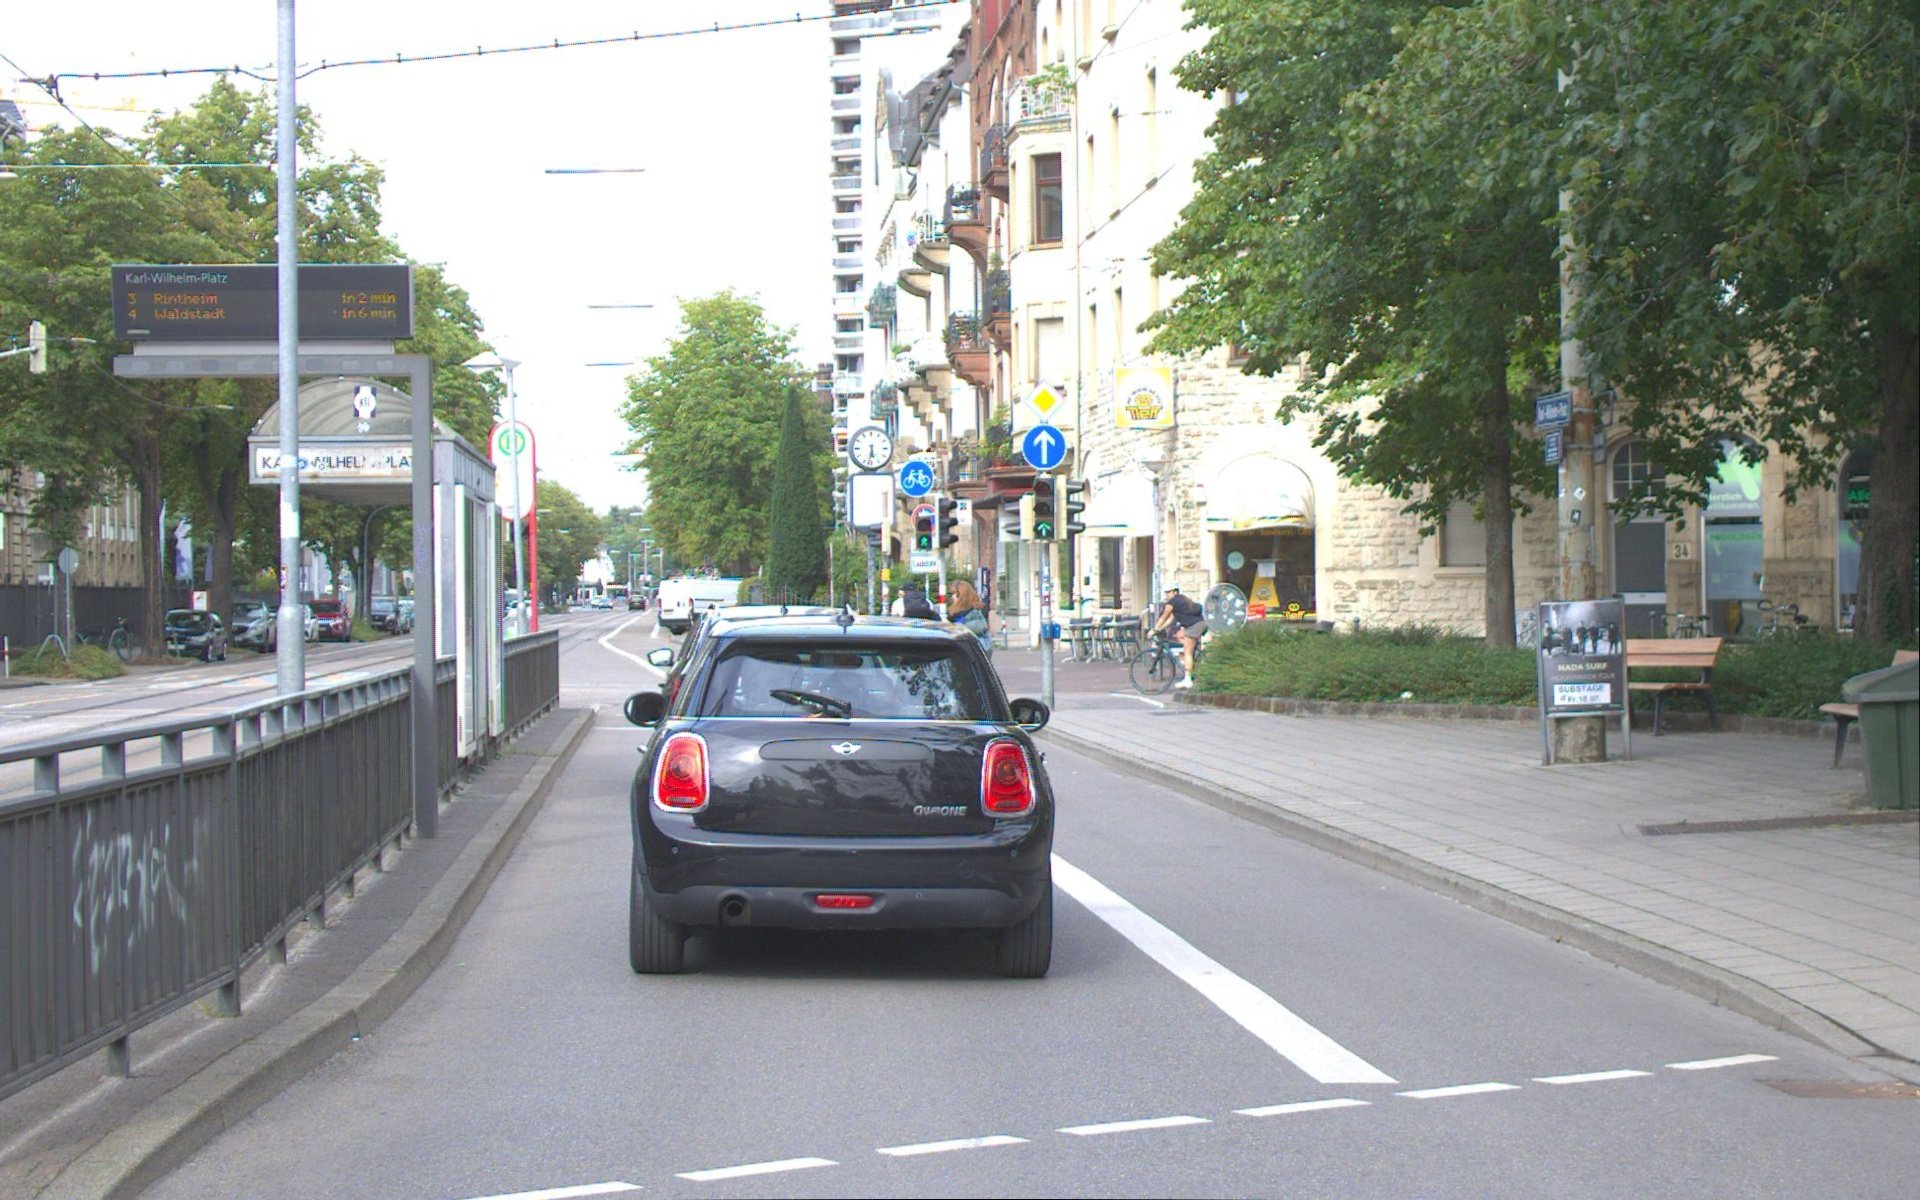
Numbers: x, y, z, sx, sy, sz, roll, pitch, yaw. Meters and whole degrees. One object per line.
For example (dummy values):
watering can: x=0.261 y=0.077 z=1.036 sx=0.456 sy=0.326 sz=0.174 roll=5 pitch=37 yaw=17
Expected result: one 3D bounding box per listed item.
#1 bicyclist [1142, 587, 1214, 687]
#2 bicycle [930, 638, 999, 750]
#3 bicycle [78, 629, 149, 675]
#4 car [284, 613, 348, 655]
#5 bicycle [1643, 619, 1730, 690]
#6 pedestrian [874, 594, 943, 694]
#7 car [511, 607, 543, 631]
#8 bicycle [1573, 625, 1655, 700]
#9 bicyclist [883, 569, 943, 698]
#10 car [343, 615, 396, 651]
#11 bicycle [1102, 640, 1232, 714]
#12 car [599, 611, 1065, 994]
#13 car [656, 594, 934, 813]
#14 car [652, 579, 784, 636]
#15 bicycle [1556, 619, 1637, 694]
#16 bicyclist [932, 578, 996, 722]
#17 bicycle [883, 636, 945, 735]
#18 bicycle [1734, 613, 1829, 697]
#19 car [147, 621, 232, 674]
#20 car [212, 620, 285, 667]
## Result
bicyclist: x=3.247 y=0.545 z=51.212 sx=0.913 sy=1.468 sz=0.616 roll=-1 pitch=0 yaw=19
bicycle: x=0.041 y=1.020 z=37.820 sx=0.598 sy=1.166 sz=1.697 roll=-1 pitch=0 yaw=-4
bicycle: x=-21.502 y=1.321 z=87.328 sx=1.667 sy=1.115 sz=0.572 roll=-1 pitch=0 yaw=-44
car: x=-24.976 y=1.306 z=133.423 sx=1.993 sy=1.547 sz=4.000 roll=-1 pitch=0 yaw=-4
bicycle: x=10.344 y=0.770 z=48.922 sx=0.532 sy=0.969 sz=1.645 roll=-1 pitch=0 yaw=38
pedestrian: x=-0.899 y=0.773 z=60.161 sx=0.732 sy=1.669 sz=0.833 roll=-4 pitch=0 yaw=42
car: x=-26.087 y=1.140 z=207.100 sx=1.766 sy=1.390 sz=4.001 roll=-1 pitch=0 yaw=-5
bicycle: x=9.464 y=0.895 z=49.703 sx=0.449 sy=1.051 sz=1.645 roll=-1 pitch=0 yaw=38
bicyclist: x=-0.582 y=0.408 z=42.360 sx=0.684 sy=1.558 sz=0.998 roll=-1 pitch=0 yaw=-2
car: x=-26.836 y=1.488 z=156.321 sx=1.993 sy=1.547 sz=4.000 roll=-1 pitch=0 yaw=-4
bicycle: x=3.090 y=1.145 z=51.263 sx=1.816 sy=1.073 sz=0.616 roll=-1 pitch=0 yaw=19
car: x=-0.556 y=0.778 z=15.085 sx=1.751 sy=1.436 sz=4.000 roll=1 pitch=0 yaw=-2
car: x=-1.245 y=0.733 z=26.156 sx=1.926 sy=1.505 sz=4.000 roll=-1 pitch=0 yaw=-2
car: x=-9.842 y=0.303 z=140.071 sx=5.026 sy=2.265 sz=2.395 roll=-1 pitch=0 yaw=-45
bicycle: x=9.278 y=0.817 z=50.074 sx=0.449 sy=1.051 sz=1.645 roll=-1 pitch=0 yaw=38
bicyclist: x=0.038 y=0.539 z=37.818 sx=0.594 sy=1.545 sz=1.014 roll=-1 pitch=0 yaw=-4
bicycle: x=-0.575 y=1.041 z=42.412 sx=0.684 sy=1.166 sz=1.697 roll=-1 pitch=0 yaw=-2
bicycle: x=11.395 y=0.757 z=47.629 sx=0.532 sy=1.124 sz=1.889 roll=-1 pitch=0 yaw=38
car: x=-21.239 y=1.295 z=94.838 sx=1.766 sy=1.390 sz=4.001 roll=-1 pitch=0 yaw=-5
car: x=-22.101 y=1.330 z=106.834 sx=1.766 sy=1.390 sz=4.001 roll=-1 pitch=0 yaw=-5
